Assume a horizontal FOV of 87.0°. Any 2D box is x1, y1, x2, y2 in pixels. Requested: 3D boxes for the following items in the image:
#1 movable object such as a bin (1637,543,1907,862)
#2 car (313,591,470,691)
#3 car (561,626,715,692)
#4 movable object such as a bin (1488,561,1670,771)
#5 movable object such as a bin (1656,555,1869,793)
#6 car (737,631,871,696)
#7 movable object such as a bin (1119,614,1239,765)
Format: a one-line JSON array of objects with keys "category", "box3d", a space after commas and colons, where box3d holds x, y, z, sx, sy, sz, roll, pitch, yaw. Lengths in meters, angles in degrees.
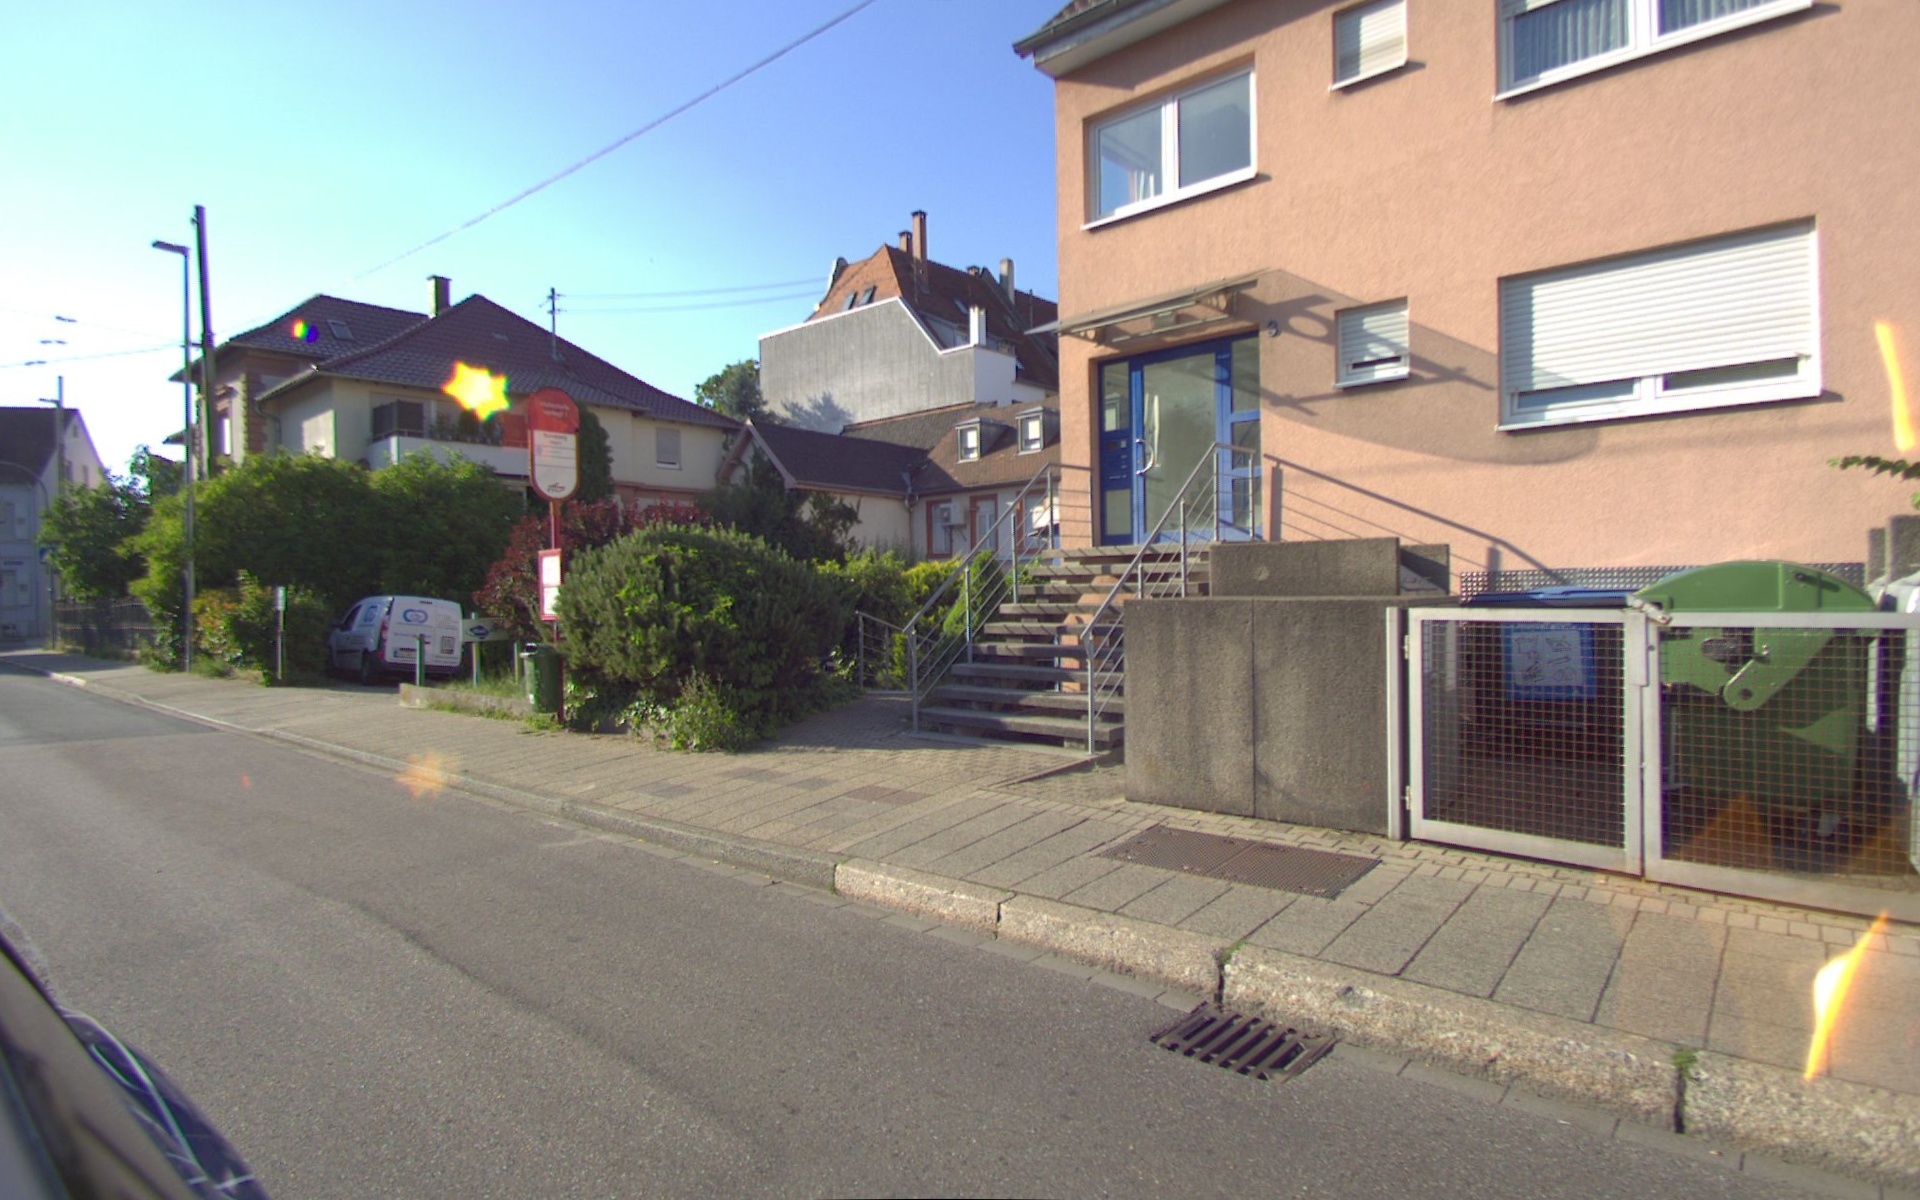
[{"category": "movable object such as a bin", "box3d": [4.261, 0.462, 5.394, 0.990, 1.440, 1.295, -1, 0, 37]}, {"category": "car", "box3d": [-11.862, 0.853, 21.045, 3.671, 1.828, 1.682, -1, -6, 43]}, {"category": "car", "box3d": [-8.197, 1.455, 25.659, 3.785, 1.529, 1.824, -1, -3, 37]}, {"category": "movable object such as a bin", "box3d": [4.661, 0.454, 7.616, 1.041, 1.440, 0.913, -1, 0, 39]}, {"category": "movable object such as a bin", "box3d": [5.363, 0.449, 6.814, 1.041, 1.440, 0.913, -1, 0, 39]}, {"category": "car", "box3d": [-4.477, 1.784, 28.827, 3.794, 1.681, 1.820, -1, -5, 44]}, {"category": "movable object such as a bin", "box3d": [1.696, 0.659, 7.811, 0.601, 1.074, 0.750, -1, 0, 41]}]
